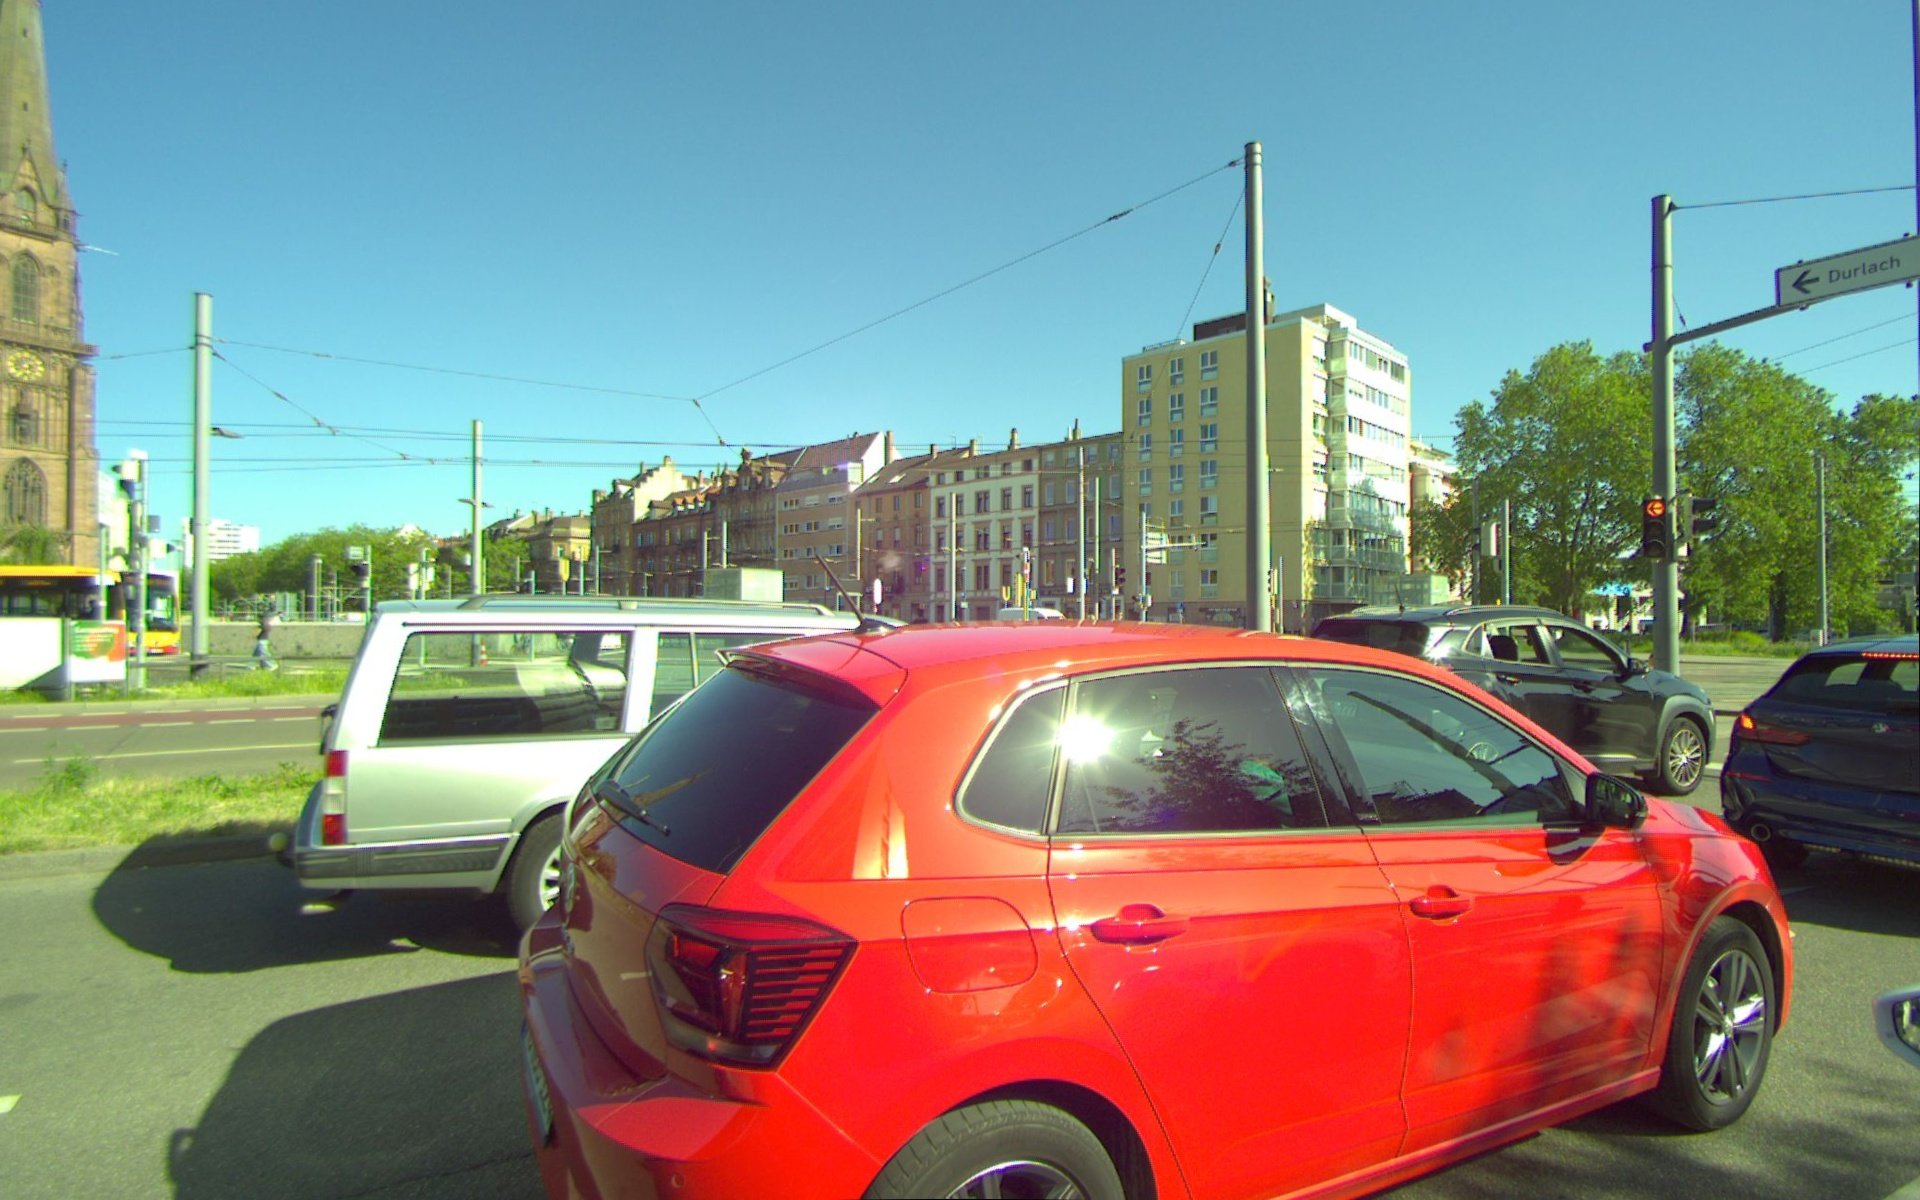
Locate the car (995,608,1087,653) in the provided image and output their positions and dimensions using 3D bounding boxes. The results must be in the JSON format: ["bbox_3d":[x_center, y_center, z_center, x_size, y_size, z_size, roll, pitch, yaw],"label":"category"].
[{"bbox_3d":[4.647,1.759,58.438,5.345,2.541,1.988,-1,-2,44],"label":"car"}]

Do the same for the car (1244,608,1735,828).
[{"bbox_3d":[4.587,0.866,8.675,3.956,1.537,1.752,1,-1,-26],"label":"car"}]

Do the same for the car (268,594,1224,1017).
[{"bbox_3d":[-0.859,0.773,5.511,4.698,1.492,1.700,1,-1,-31],"label":"car"}]

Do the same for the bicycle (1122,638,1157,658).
[{"bbox_3d":[8.893,2.376,49.709,1.665,0.958,0.614,1,-1,-28],"label":"bicycle"}]

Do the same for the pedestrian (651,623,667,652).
[{"bbox_3d":[-18.072,2.231,60.341,0.672,1.735,0.794,1,-1,-36],"label":"pedestrian"}]

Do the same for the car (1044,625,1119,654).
[{"bbox_3d":[7.201,2.327,59.714,4.250,1.675,1.847,-1,-2,45],"label":"car"}]

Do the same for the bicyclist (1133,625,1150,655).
[{"bbox_3d":[8.984,1.969,49.771,0.608,1.462,0.614,1,-1,-27],"label":"bicyclist"}]

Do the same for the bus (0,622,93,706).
[{"bbox_3d":[-15.948,0.951,15.141,4.140,1.257,1.631,1,-2,-34],"label":"bus"}]

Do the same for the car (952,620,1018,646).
[{"bbox_3d":[1.624,2.165,66.077,4.247,1.675,1.848,-1,-2,43],"label":"car"}]

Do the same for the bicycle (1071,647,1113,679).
[{"bbox_3d":[3.891,1.852,29.846,0.666,0.890,1.894,0,-1,-11],"label":"bicycle"}]

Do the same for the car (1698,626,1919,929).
[{"bbox_3d":[6.456,0.936,6.000,3.980,1.464,1.704,1,0,-27],"label":"car"}]

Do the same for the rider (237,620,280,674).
[{"bbox_3d":[-19.512,1.301,27.950,0.849,1.483,0.666,1,-1,-24],"label":"rider"}]

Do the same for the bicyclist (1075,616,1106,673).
[{"bbox_3d":[3.882,1.319,29.910,0.667,1.676,0.783,0,-1,-12],"label":"bicyclist"}]

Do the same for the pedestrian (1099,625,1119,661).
[{"bbox_3d":[6.615,1.892,44.623,0.736,1.593,0.673,0,-1,26],"label":"pedestrian"}]

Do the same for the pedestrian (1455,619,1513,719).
[{"bbox_3d":[8.382,1.101,16.076,0.747,1.575,0.357,0,-1,-10],"label":"pedestrian"}]

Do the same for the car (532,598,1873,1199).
[{"bbox_3d":[0.851,0.781,3.027,3.806,1.492,1.662,1,0,-29],"label":"car"}]

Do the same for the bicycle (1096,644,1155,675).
[{"bbox_3d":[4.962,1.775,30.215,0.671,0.890,1.881,1,-2,-33],"label":"bicycle"}]

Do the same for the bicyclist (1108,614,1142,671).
[{"bbox_3d":[4.954,1.274,30.241,0.671,1.676,0.778,1,-1,-33],"label":"bicyclist"}]

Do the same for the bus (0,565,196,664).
[{"bbox_3d":[-32.187,0.489,32.941,11.923,3.105,2.763,0,-1,-2],"label":"bus"}]

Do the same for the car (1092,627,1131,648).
[{"bbox_3d":[10.593,2.606,70.439,1.744,1.446,3.875,0,-1,-8],"label":"car"}]

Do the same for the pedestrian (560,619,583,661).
[{"bbox_3d":[-17.323,1.771,44.759,0.871,1.879,0.684,1,-1,-28],"label":"pedestrian"}]

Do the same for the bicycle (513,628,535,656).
[{"bbox_3d":[-19.024,1.818,43.861,0.461,1.189,1.253,0,-1,-4],"label":"bicycle"}]

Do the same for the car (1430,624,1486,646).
[{"bbox_3d":[39.421,2.768,79.578,3.694,1.684,1.585,-1,-2,44],"label":"car"}]
